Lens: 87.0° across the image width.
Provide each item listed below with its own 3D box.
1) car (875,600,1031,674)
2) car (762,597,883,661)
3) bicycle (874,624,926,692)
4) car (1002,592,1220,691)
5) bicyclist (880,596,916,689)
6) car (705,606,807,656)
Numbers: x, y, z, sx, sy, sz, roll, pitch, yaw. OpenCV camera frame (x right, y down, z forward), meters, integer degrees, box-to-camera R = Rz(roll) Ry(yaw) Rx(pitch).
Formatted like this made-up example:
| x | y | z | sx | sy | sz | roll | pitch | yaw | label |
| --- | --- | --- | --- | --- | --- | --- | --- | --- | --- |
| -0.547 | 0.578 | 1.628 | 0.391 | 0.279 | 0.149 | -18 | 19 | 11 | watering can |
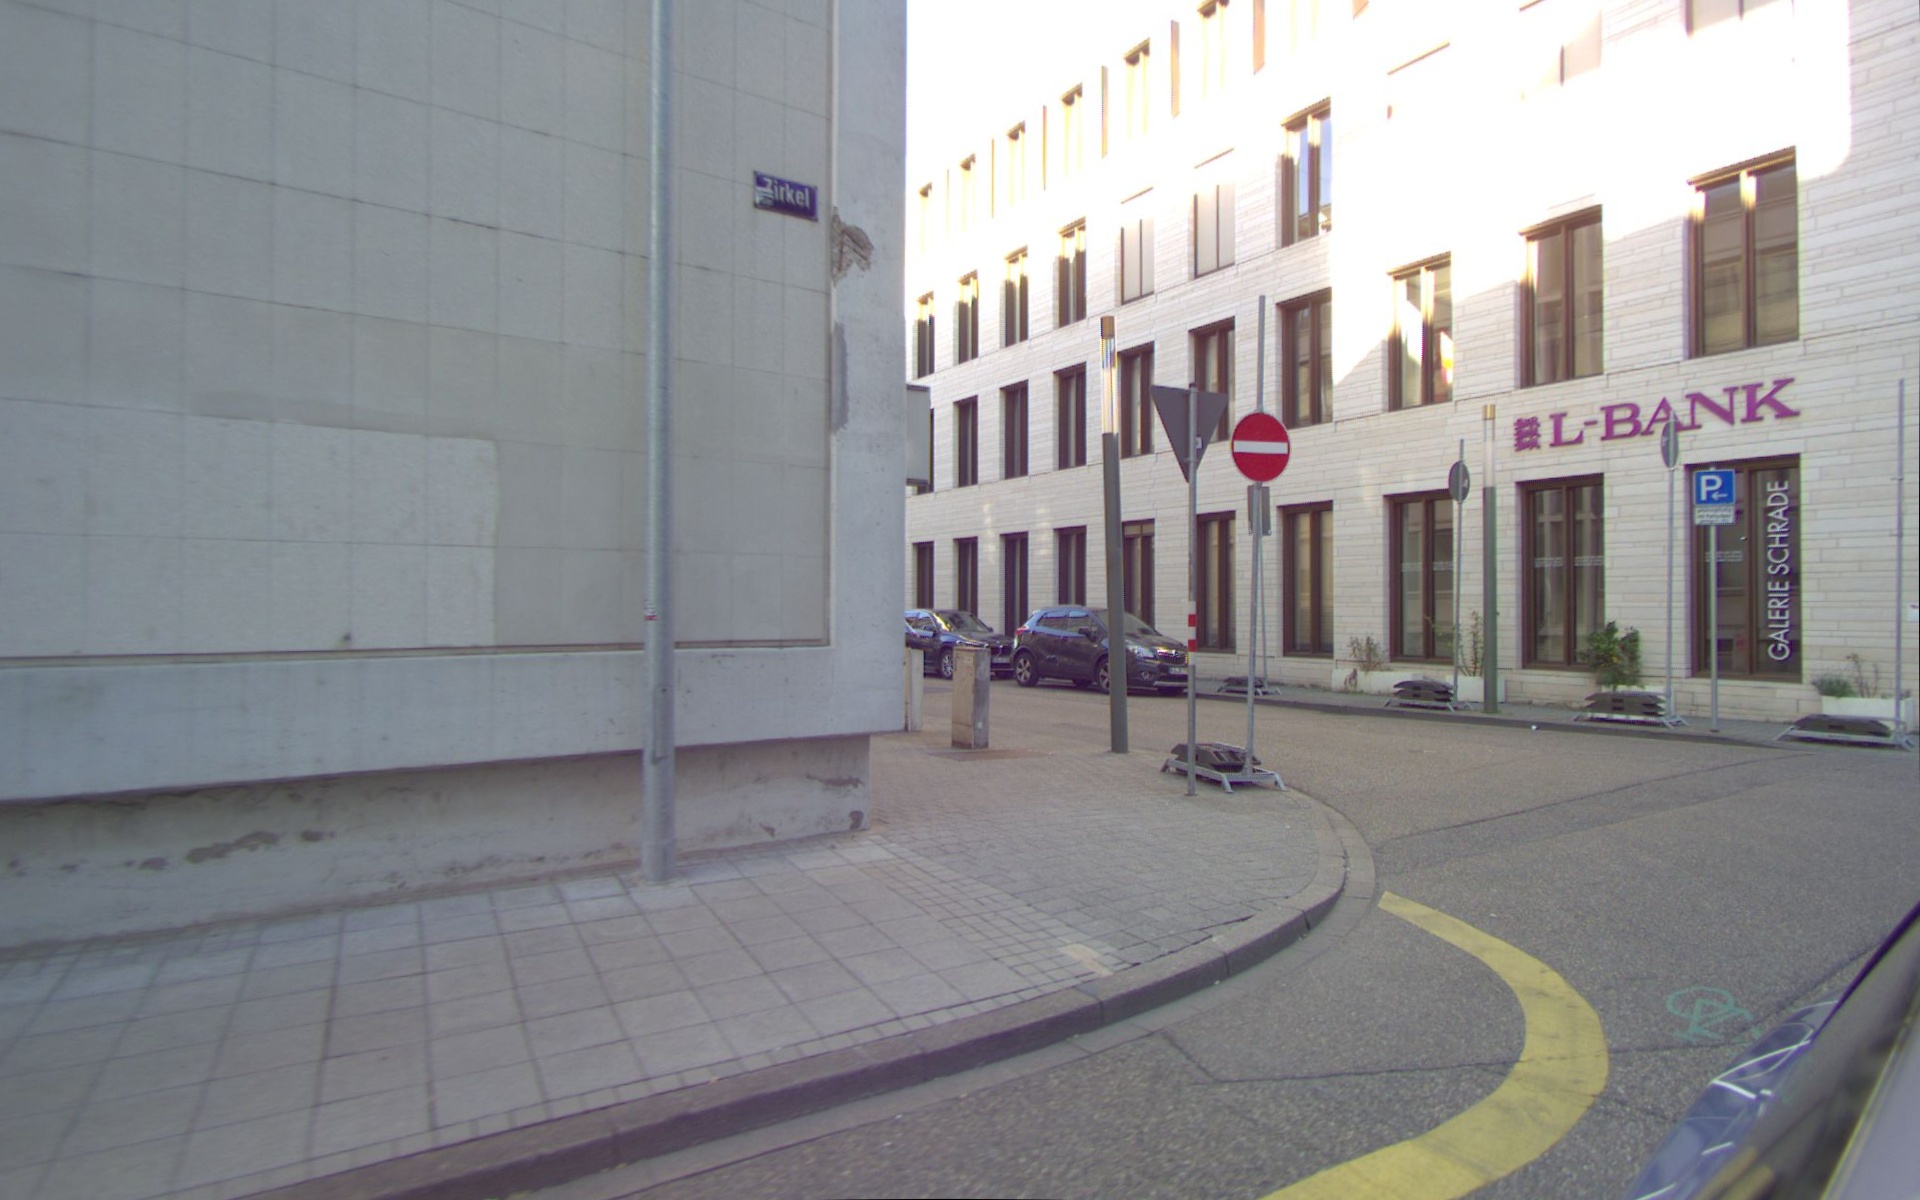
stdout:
| x | y | z | sx | sy | sz | roll | pitch | yaw | label |
| --- | --- | --- | --- | --- | --- | --- | --- | --- | --- |
| -0.261 | 0.863 | 24.086 | 1.711 | 1.615 | 4.154 | 2 | -2 | -34 | car |
| -4.075 | 0.843 | 29.530 | 1.793 | 1.737 | 4.016 | 2 | -2 | -36 | car |
| -1.155 | 1.050 | 19.038 | 0.583 | 1.097 | 2.315 | -1 | 1 | -13 | bicycle |
| 2.813 | 0.777 | 19.714 | 1.793 | 1.699 | 4.263 | 2 | -2 | -35 | car |
| -1.166 | 0.780 | 19.072 | 0.574 | 1.710 | 0.539 | -1 | 0 | -12 | bicyclist |
| -7.028 | 1.027 | 34.487 | 1.794 | 1.561 | 4.261 | 0 | -1 | -36 | car |
